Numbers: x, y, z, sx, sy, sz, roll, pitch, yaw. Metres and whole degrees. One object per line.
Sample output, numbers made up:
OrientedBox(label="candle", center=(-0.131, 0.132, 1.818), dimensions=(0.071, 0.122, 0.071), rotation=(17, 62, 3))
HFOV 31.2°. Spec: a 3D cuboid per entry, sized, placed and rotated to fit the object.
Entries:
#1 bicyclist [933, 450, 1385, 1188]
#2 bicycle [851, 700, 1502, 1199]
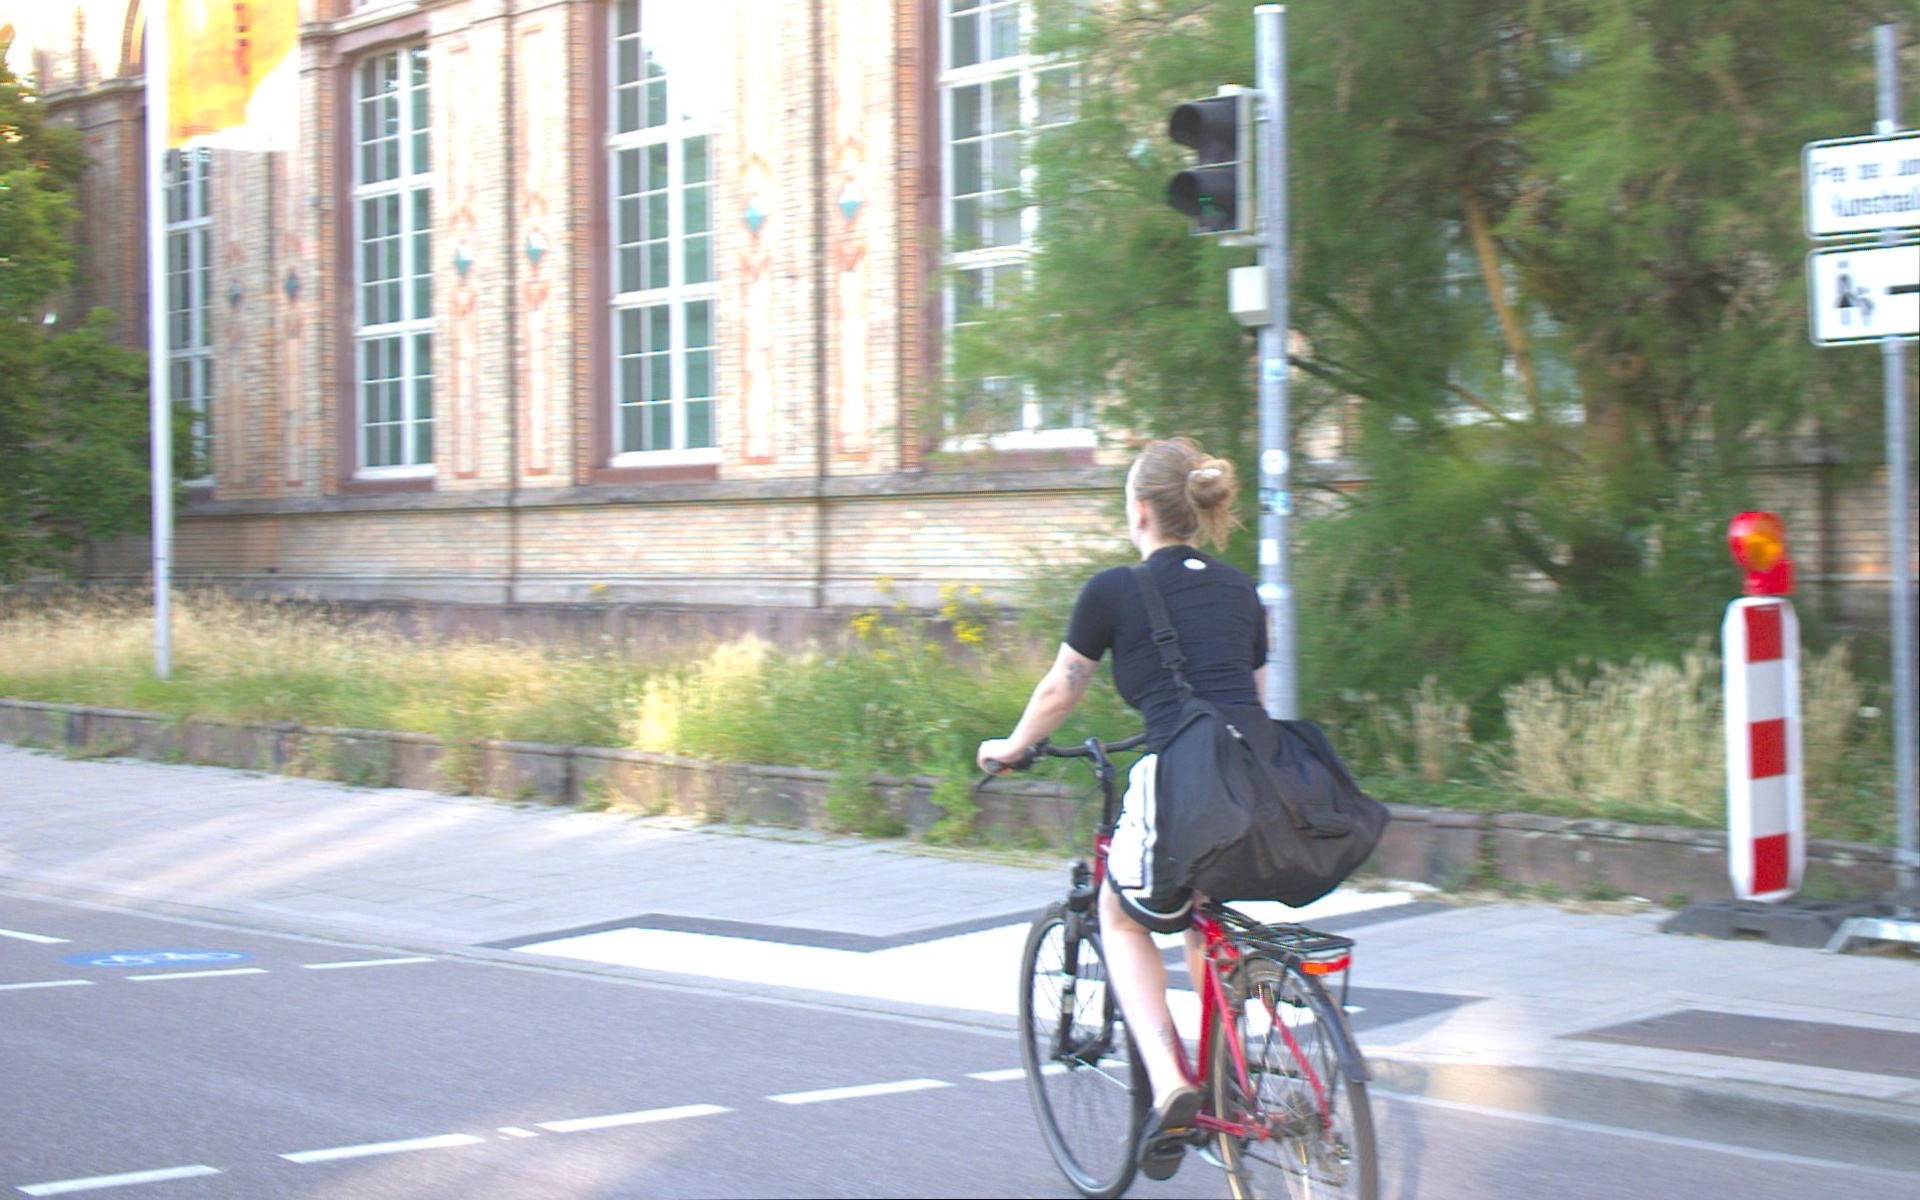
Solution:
OrientedBox(label="bicyclist", center=(0.413, 0.444, 7.485), dimensions=(0.716, 1.497, 0.851), rotation=(0, 0, -17))
OrientedBox(label="bicycle", center=(0.391, 0.832, 7.515), dimensions=(0.711, 1.152, 2.069), rotation=(0, 0, -18))
